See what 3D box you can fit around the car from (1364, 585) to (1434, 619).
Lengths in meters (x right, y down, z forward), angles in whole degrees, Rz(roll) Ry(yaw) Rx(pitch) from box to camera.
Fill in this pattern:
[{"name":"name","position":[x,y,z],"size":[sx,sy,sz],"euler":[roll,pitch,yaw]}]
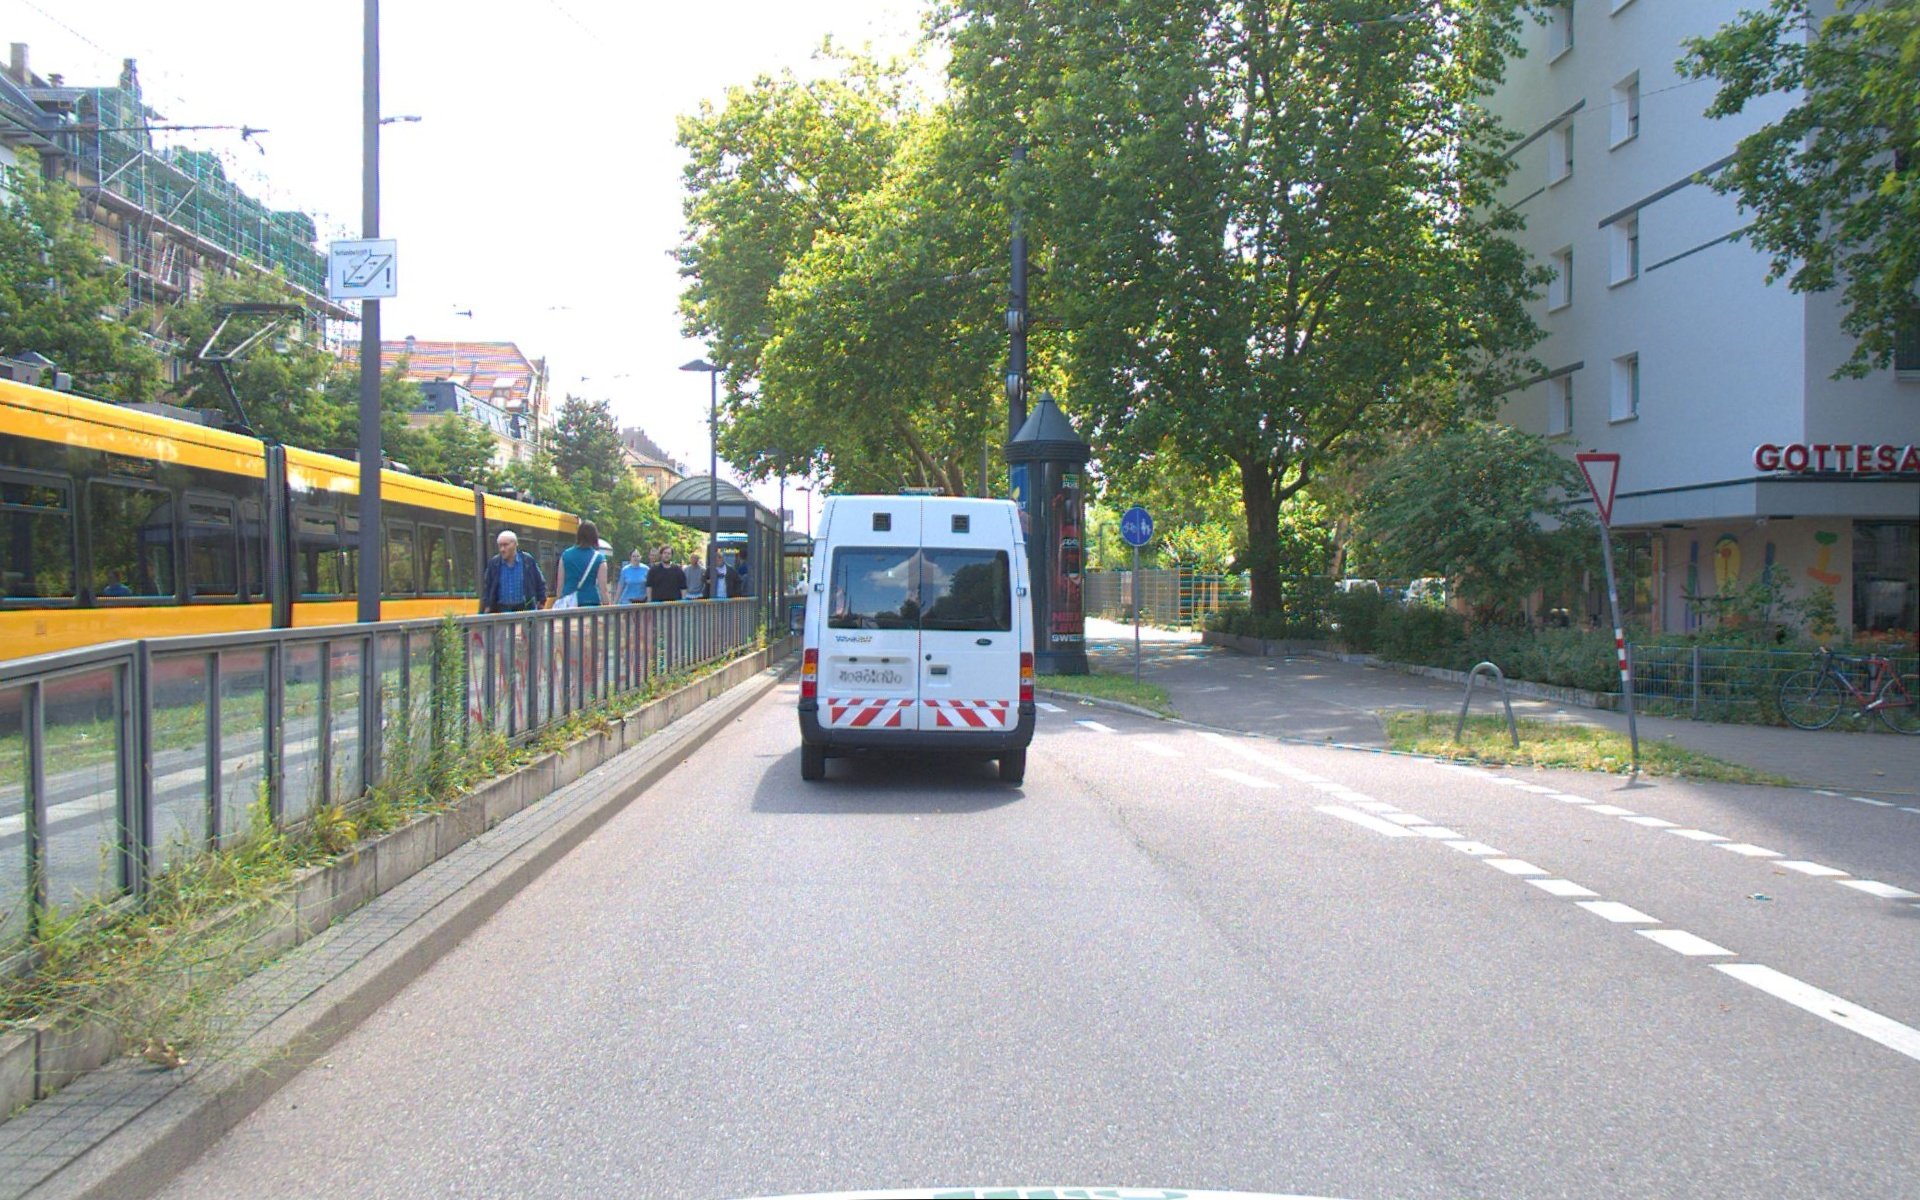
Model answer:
[{"name":"car","position":[18.718,0.076,70.738],"size":[1.771,1.427,4.045],"euler":[0,0,-3]}]

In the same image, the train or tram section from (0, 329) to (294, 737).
[{"name":"train or tram section","position":[-9.991,-0.620,15.466],"size":[2.751,3.647,13.009],"euler":[1,0,-3]}]

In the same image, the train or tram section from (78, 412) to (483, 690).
[{"name":"train or tram section","position":[-10.510,-0.668,27.160],"size":[2.740,3.647,10.398],"euler":[1,0,-3]}]

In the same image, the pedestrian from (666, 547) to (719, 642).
[{"name":"pedestrian","position":[-5.266,-0.114,32.671],"size":[0.868,1.832,1.494],"euler":[1,0,-3]}]

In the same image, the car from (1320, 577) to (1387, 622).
[{"name":"car","position":[16.785,-0.024,70.705],"size":[1.770,1.846,4.338],"euler":[1,0,-1]}]

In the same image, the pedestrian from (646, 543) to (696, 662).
[{"name":"pedestrian","position":[-4.644,0.044,26.591],"size":[0.687,1.881,0.788],"euler":[1,0,-4]}]

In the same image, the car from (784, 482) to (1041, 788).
[{"name":"car","position":[-0.465,0.256,15.263],"size":[2.006,2.374,4.712],"euler":[0,0,-2]}]

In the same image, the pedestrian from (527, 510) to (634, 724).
[{"name":"pedestrian","position":[-3.535,0.153,15.462],"size":[0.810,1.932,0.846],"euler":[1,0,-3]}]

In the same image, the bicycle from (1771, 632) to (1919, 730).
[{"name":"bicycle","position":[10.091,0.899,18.629],"size":[1.688,1.027,0.534],"euler":[1,0,25]}]

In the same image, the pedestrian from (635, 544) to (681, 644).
[{"name":"pedestrian","position":[-5.681,-0.117,31.141],"size":[0.697,1.832,1.132],"euler":[1,0,-3]}]

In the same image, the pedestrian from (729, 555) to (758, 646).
[{"name":"pedestrian","position":[-4.643,0.013,35.446],"size":[0.465,1.933,0.532],"euler":[0,0,-27]}]

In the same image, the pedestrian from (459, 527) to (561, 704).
[{"name":"pedestrian","position":[-4.737,0.160,17.463],"size":[0.840,1.806,0.876],"euler":[1,0,-3]}]

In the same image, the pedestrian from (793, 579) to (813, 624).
[{"name":"pedestrian","position":[-5.412,0.048,56.999],"size":[0.662,1.542,0.595],"euler":[0,0,-4]}]

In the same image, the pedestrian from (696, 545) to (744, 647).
[{"name":"pedestrian","position":[-4.543,-0.080,31.344],"size":[0.794,1.905,1.030],"euler":[1,0,-3]}]

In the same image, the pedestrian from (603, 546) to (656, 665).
[{"name":"pedestrian","position":[-5.305,0.083,26.600],"size":[0.687,1.881,0.907],"euler":[1,0,-3]}]

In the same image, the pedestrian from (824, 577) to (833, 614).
[{"name":"pedestrian","position":[-5.690,-0.189,71.794],"size":[0.378,1.619,0.438],"euler":[0,0,-4]}]

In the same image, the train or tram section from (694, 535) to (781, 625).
[{"name":"train or tram section","position":[-9.869,-0.851,74.664],"size":[2.669,3.647,13.009],"euler":[1,0,-3]}]

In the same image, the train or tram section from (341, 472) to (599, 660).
[{"name":"train or tram section","position":[-11.007,-0.698,38.876],"size":[2.669,3.647,13.009],"euler":[1,0,-3]}]
